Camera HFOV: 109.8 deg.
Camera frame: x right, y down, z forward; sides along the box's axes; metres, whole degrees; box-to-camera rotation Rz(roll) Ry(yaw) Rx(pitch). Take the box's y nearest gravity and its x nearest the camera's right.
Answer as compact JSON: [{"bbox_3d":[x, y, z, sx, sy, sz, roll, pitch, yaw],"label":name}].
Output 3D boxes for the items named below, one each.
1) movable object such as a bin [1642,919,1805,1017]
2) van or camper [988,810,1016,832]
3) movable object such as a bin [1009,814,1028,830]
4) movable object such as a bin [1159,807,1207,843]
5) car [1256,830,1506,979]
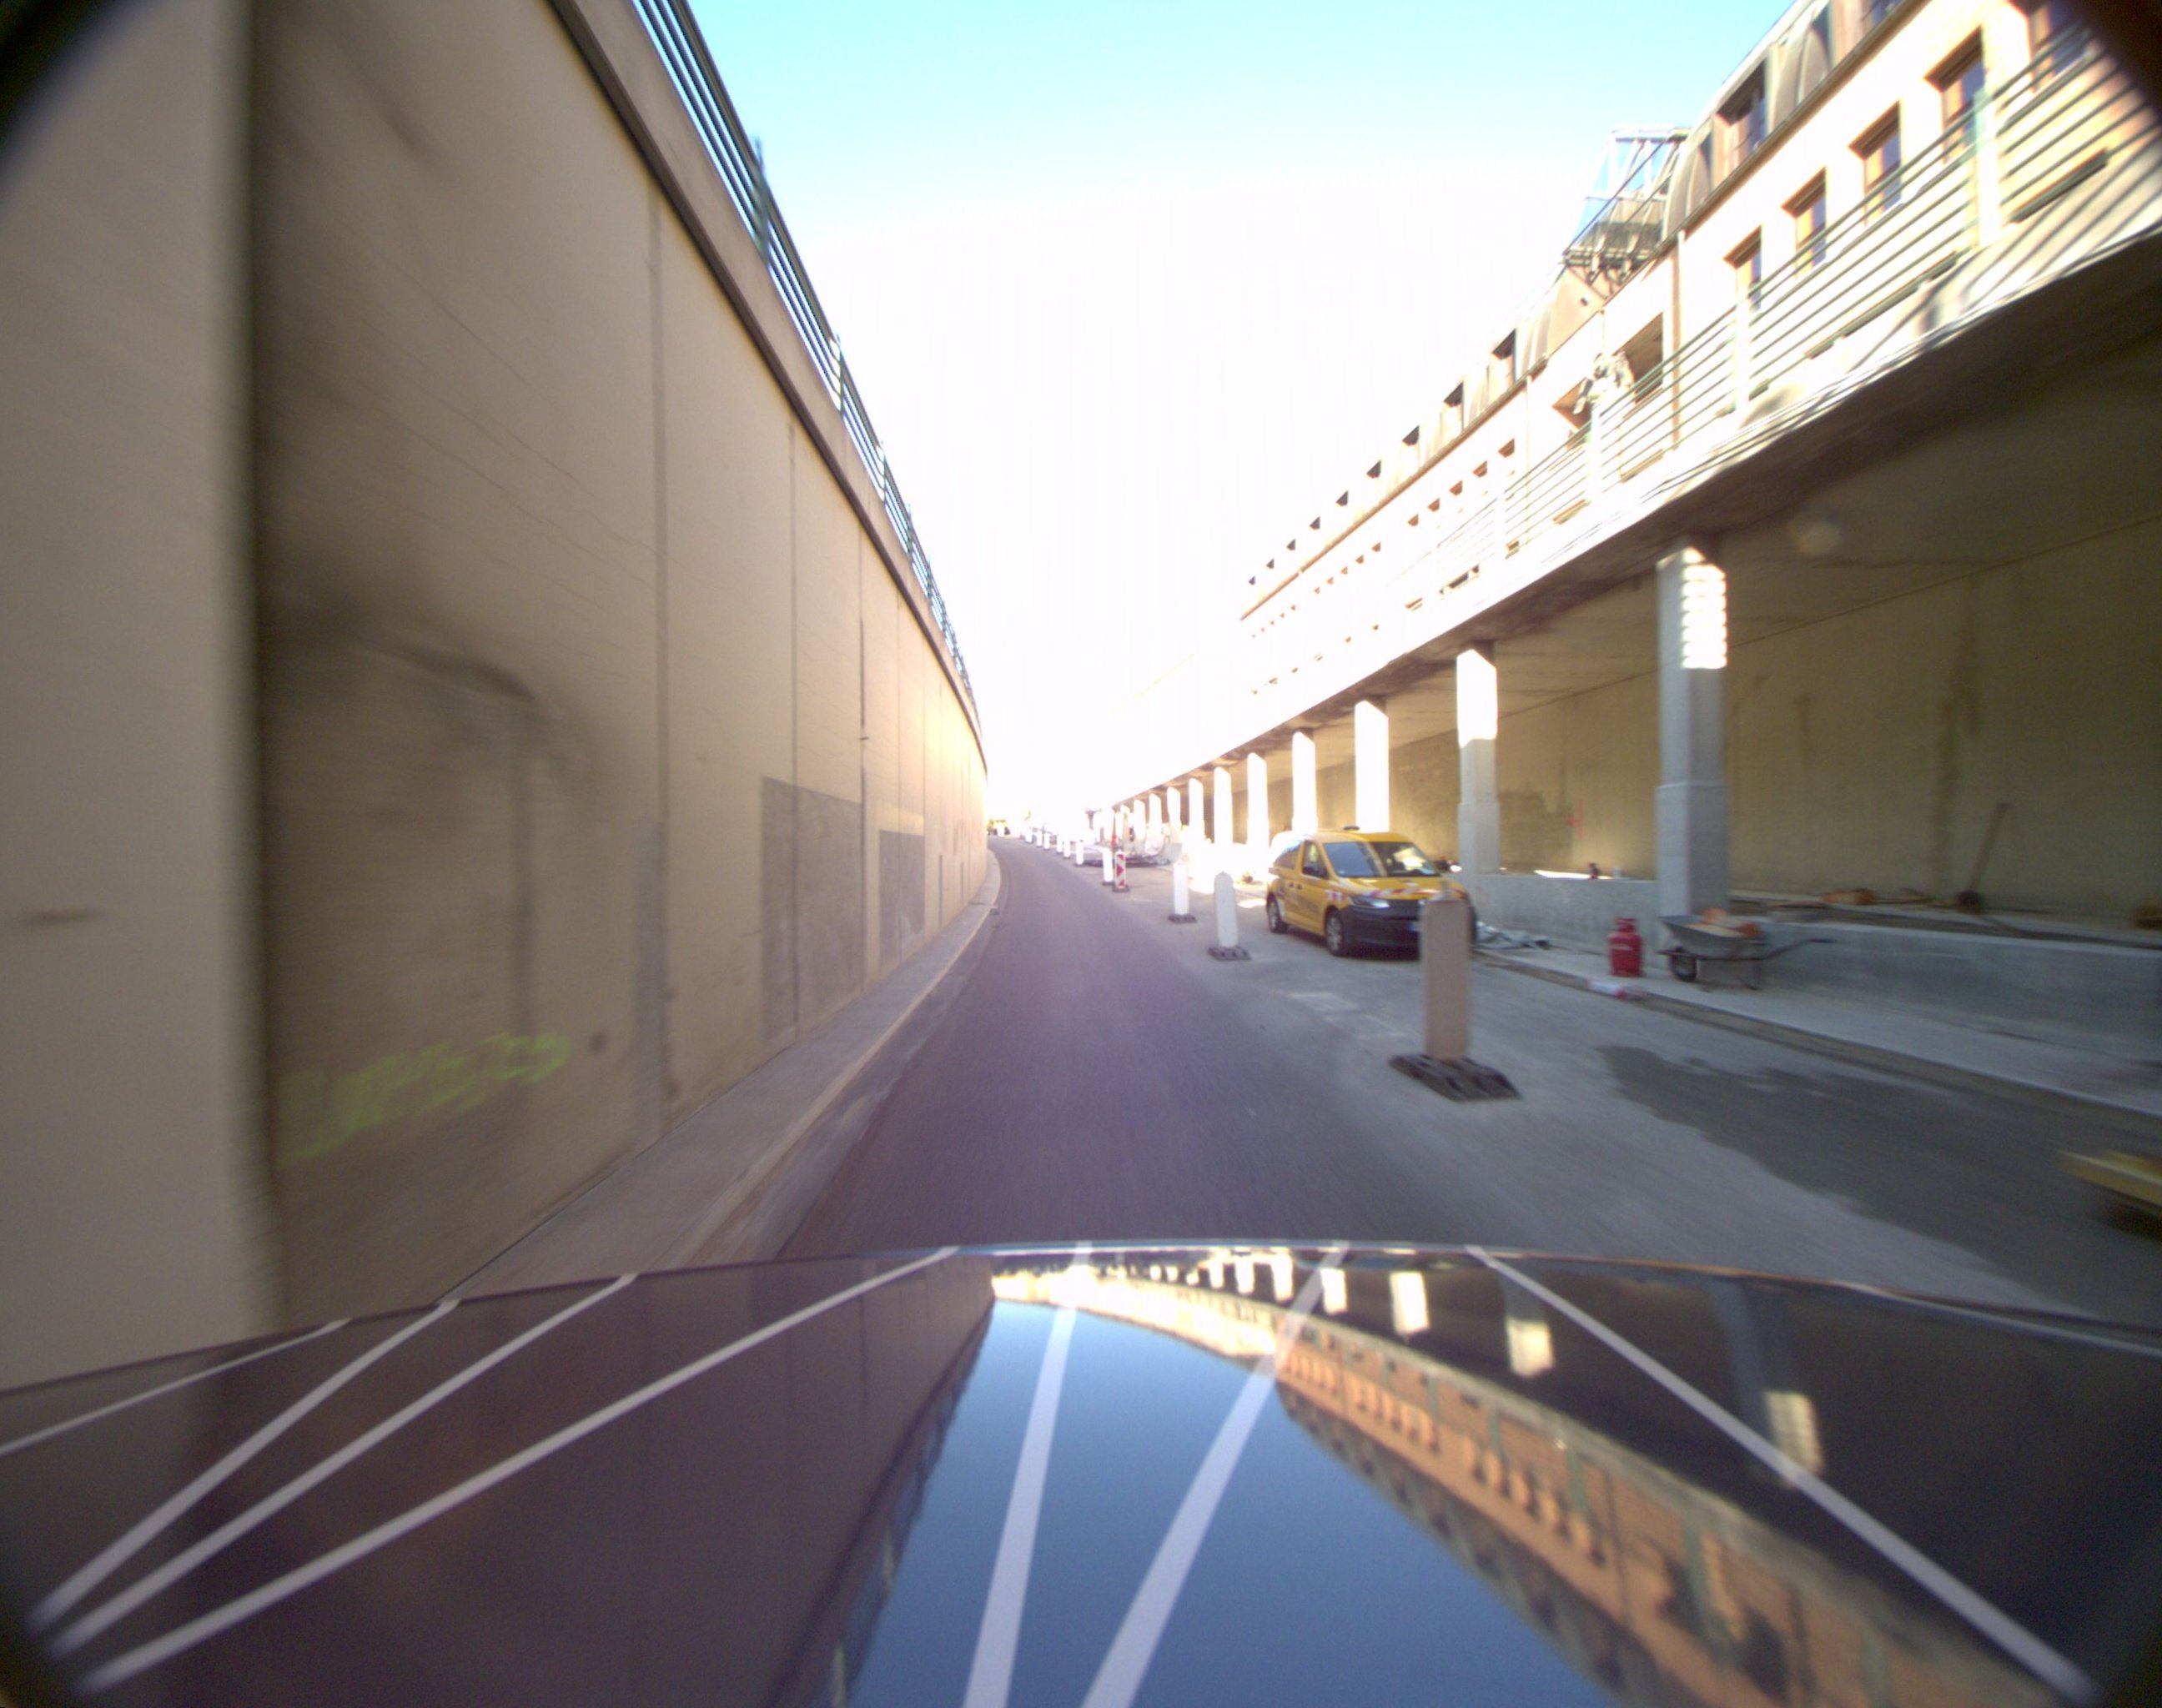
[{"bbox_3d":[6.088,1.059,7.260,0.653,0.737,1.031,-1,2,-3],"label":"movable object such as a bin"},{"bbox_3d":[-10.086,-4.227,96.589,2.202,2.599,6.811,-3,4,-16],"label":"van or camper"},{"bbox_3d":[-10.282,-5.186,124.208,2.108,2.381,4.300,1,1,-18],"label":"movable object such as a bin"},{"bbox_3d":[5.843,-1.700,43.872,1.892,1.976,3.154,-2,3,-10],"label":"movable object such as a bin"},{"bbox_3d":[4.173,0.574,11.459,1.853,1.765,4.432,-1,1,-2],"label":"car"}]
